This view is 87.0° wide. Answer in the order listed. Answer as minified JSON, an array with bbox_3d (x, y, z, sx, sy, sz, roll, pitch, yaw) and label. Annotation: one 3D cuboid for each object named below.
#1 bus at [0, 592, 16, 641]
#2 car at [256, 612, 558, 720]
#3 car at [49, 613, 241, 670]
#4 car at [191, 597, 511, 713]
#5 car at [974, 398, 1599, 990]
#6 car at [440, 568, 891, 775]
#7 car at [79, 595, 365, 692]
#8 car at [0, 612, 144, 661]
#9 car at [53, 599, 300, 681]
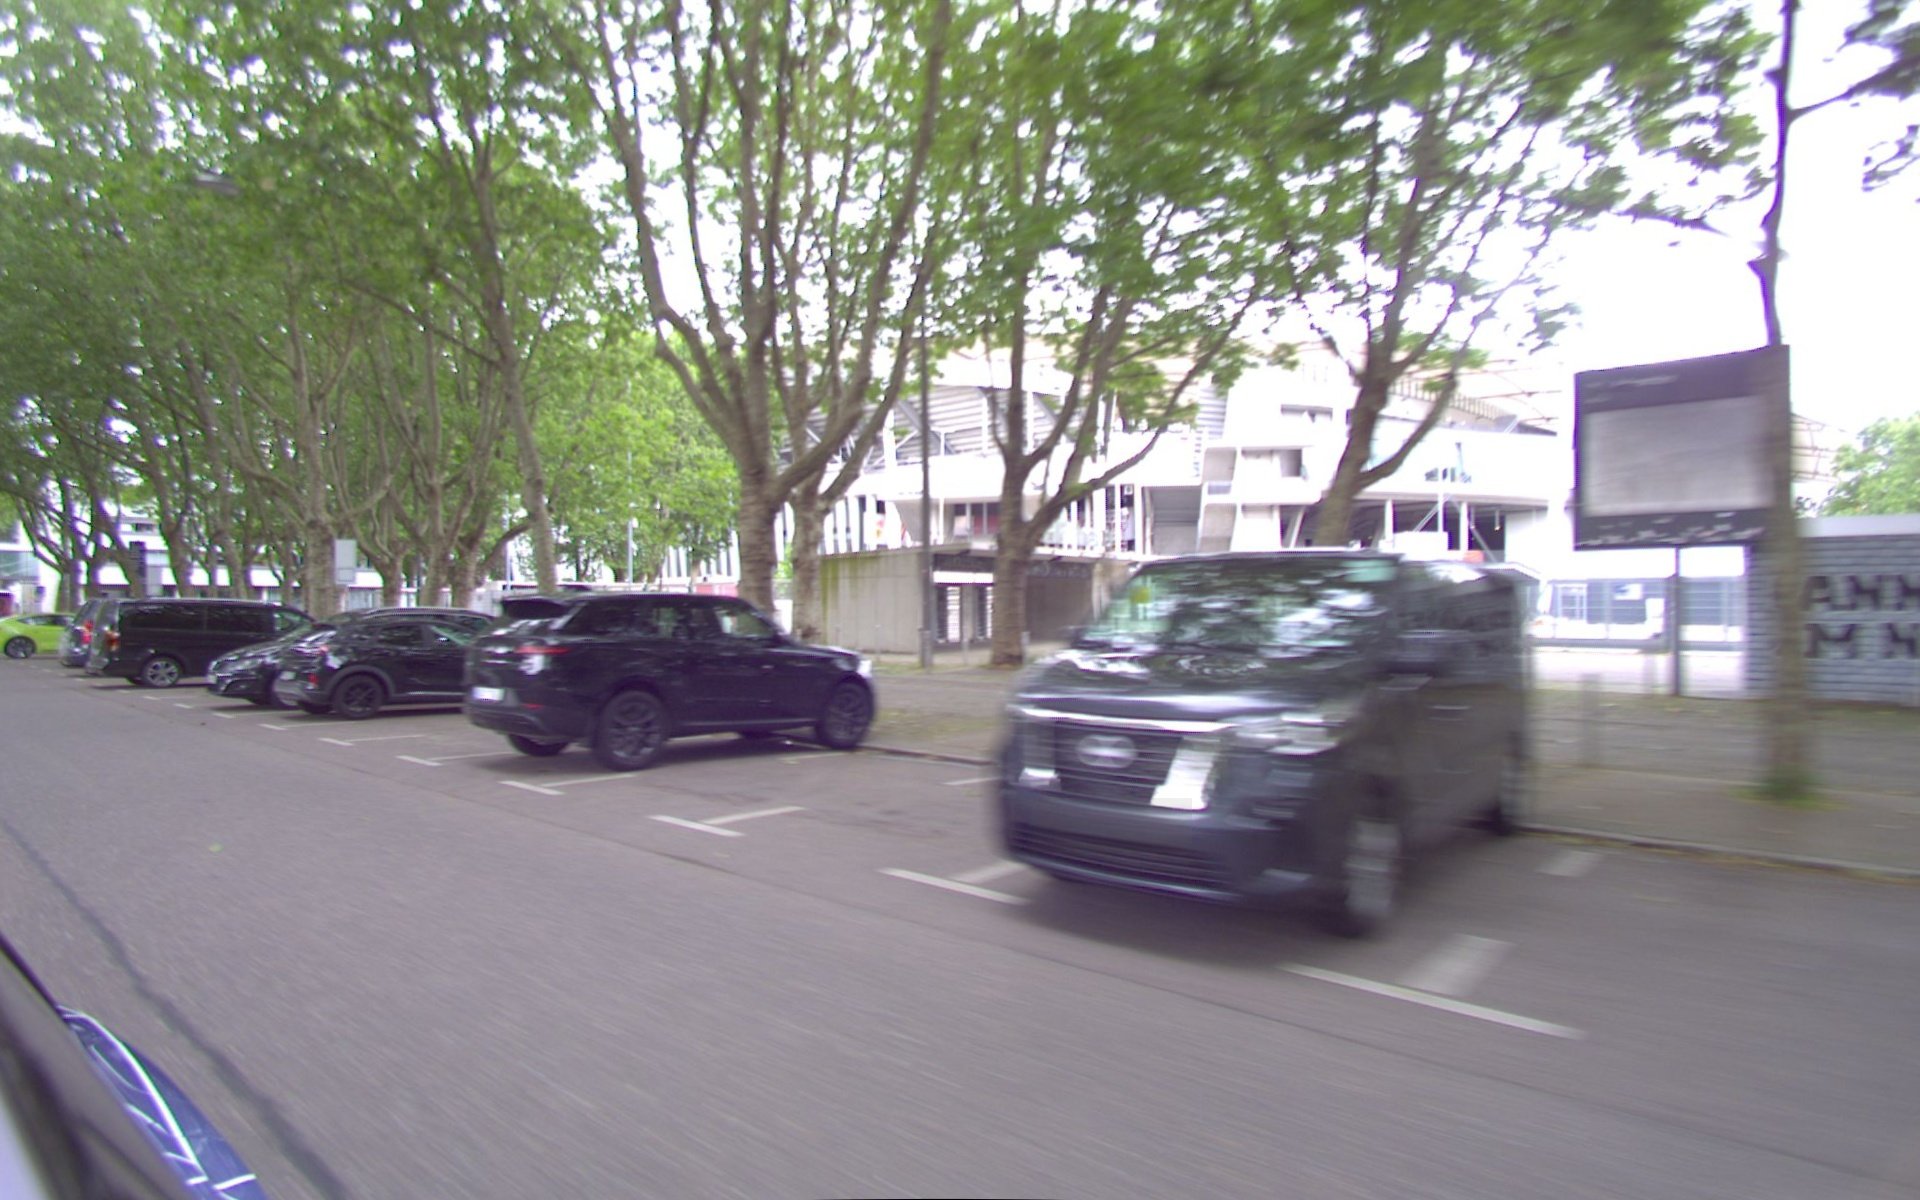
[{"bbox_3d":[-67.265,1.091,69.346,12.367,3.179,2.623,-1,-4,43],"label":"bus"},{"bbox_3d":[-8.742,1.006,16.261,1.752,1.505,3.859,-1,-3,39],"label":"car"},{"bbox_3d":[-24.015,1.232,29.949,1.754,1.581,4.068,-1,-3,36],"label":"car"},{"bbox_3d":[-10.653,0.966,18.001,1.797,1.795,4.529,-2,-4,42],"label":"car"},{"bbox_3d":[2.506,0.446,6.388,1.938,2.144,5.381,-2,-3,39],"label":"car"},{"bbox_3d":[-3.029,0.749,11.330,1.805,1.834,4.605,-2,-4,40],"label":"car"},{"bbox_3d":[-16.549,0.944,22.908,2.207,1.939,4.853,-1,-2,41],"label":"car"},{"bbox_3d":[-31.765,1.248,35.663,1.758,1.630,4.467,-1,-1,43],"label":"car"},{"bbox_3d":[-20.202,1.042,26.293,2.016,1.939,4.715,-1,-3,39],"label":"car"}]
